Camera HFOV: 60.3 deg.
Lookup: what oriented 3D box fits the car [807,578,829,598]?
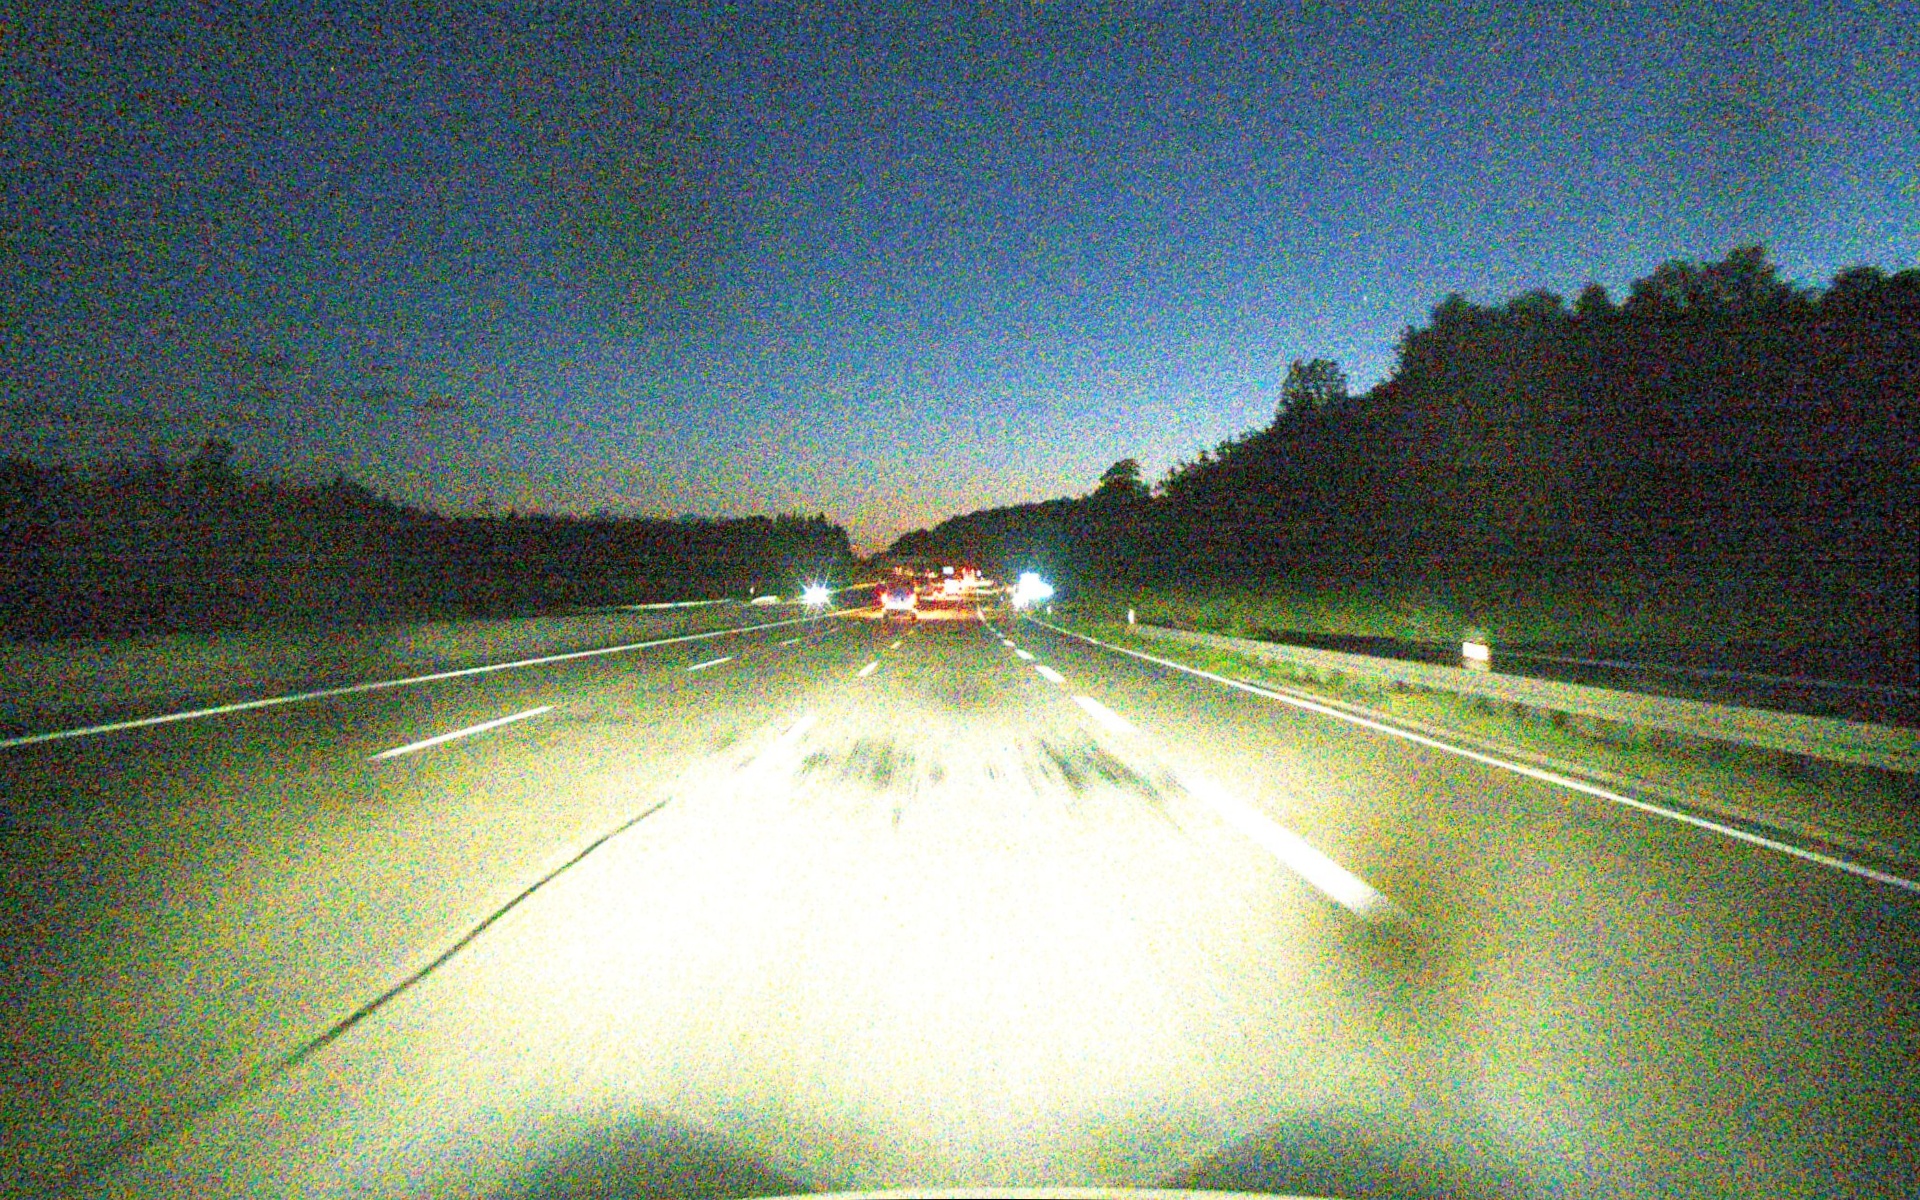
[{"bbox_3d":[-21.815,-1.867,255.158,2.788,2.989,6.601,1,0,0],"label":"car"}]

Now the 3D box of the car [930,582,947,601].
[{"bbox_3d":[-3.359,-1.270,257.893,2.730,2.781,6.297,0,-1,-1],"label":"car"}]

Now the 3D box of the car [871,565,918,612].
[{"bbox_3d":[-4.071,-0.685,104.541,2.729,2.781,6.298,0,-1,0],"label":"car"}]
